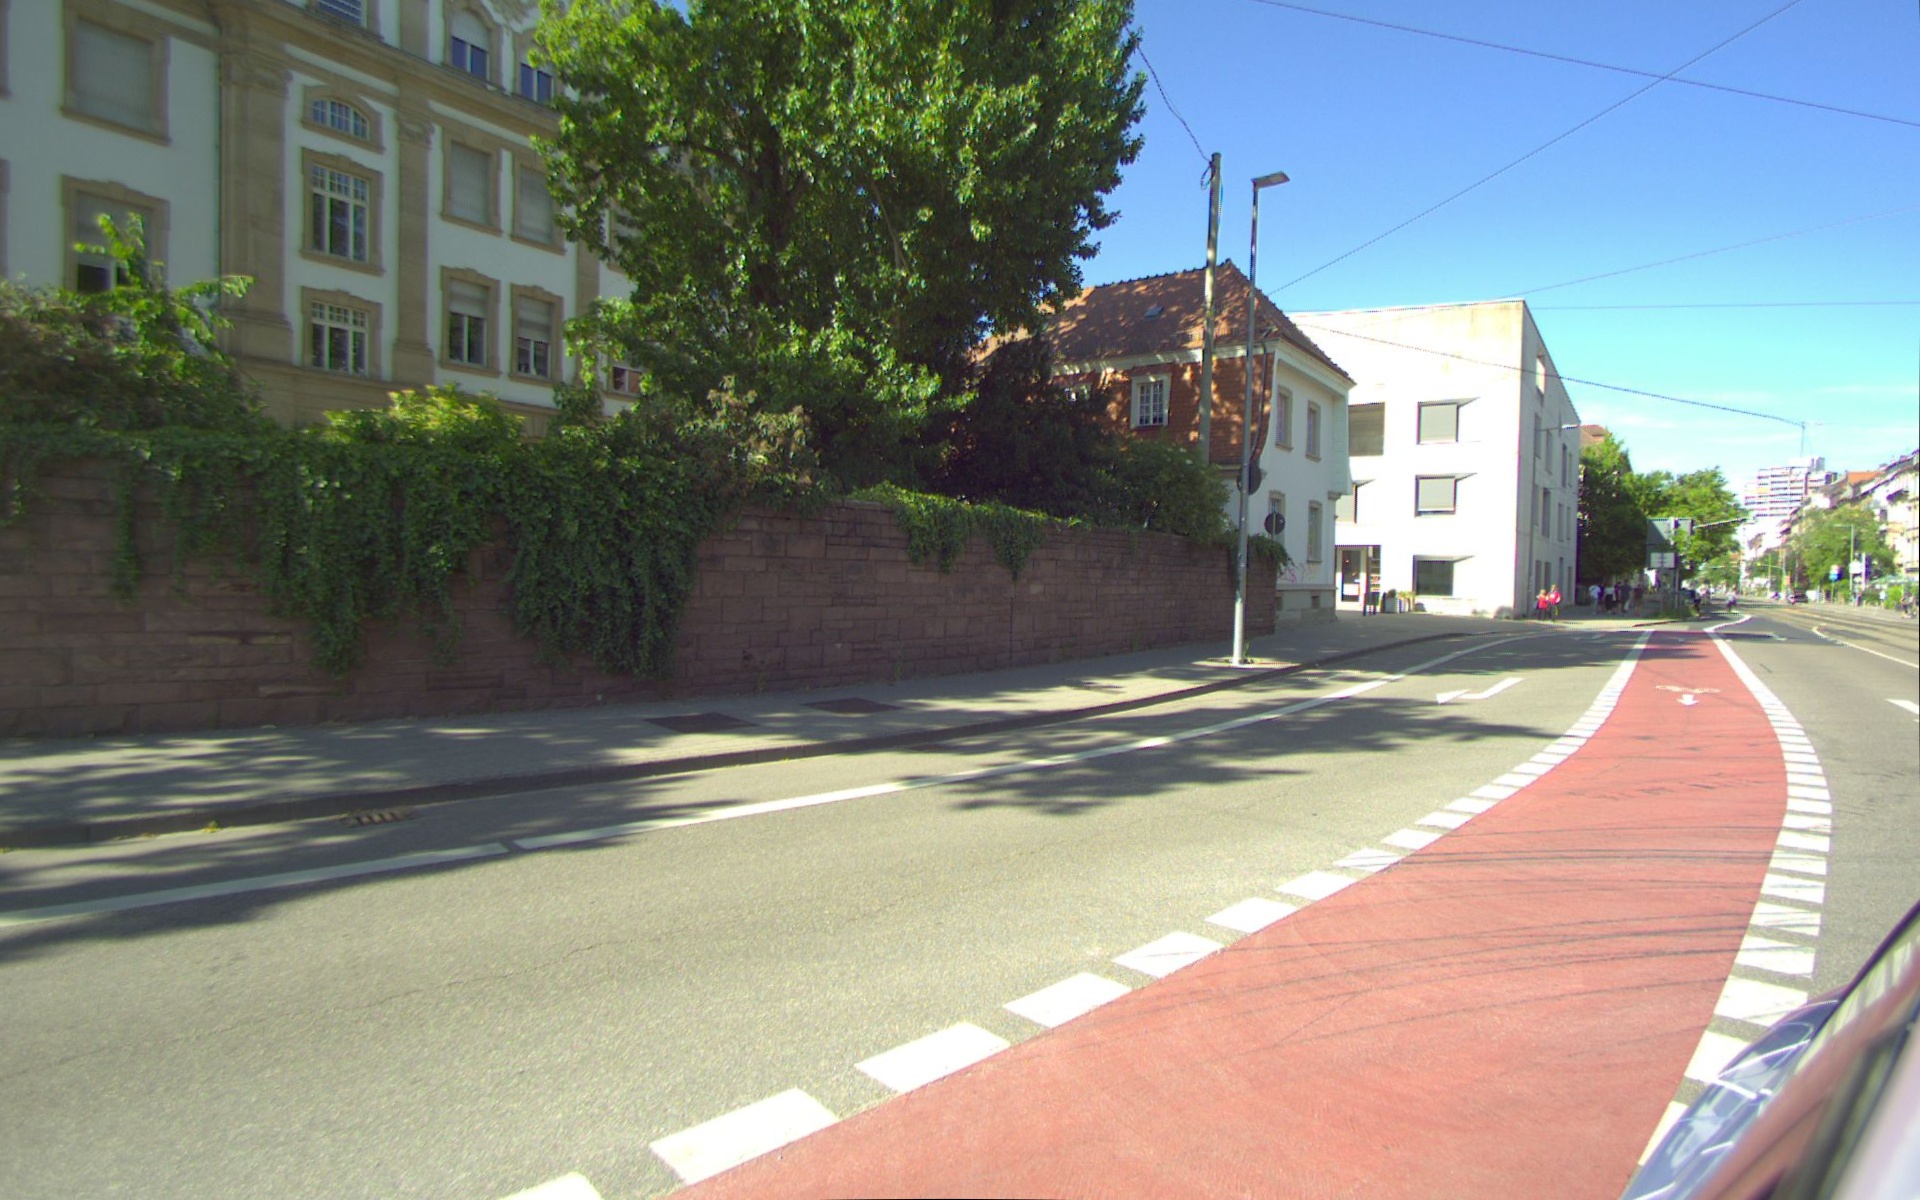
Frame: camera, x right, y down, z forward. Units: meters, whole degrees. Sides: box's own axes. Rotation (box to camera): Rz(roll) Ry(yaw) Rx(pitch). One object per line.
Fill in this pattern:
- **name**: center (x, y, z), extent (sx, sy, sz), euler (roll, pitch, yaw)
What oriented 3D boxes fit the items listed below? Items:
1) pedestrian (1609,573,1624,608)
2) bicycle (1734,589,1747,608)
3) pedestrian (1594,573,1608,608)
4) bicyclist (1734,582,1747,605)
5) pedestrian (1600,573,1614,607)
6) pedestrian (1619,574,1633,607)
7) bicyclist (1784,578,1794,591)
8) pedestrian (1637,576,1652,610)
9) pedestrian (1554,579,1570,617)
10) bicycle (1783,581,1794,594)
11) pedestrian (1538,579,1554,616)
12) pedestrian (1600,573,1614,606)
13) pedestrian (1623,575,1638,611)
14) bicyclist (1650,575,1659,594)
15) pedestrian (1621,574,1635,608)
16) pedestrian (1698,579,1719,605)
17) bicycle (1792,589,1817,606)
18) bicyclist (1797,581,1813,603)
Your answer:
- **pedestrian**: center (34.714, -0.485, 53.494), extent (0.584, 1.828, 0.538), euler (2, 1, 36)
- **bicycle**: center (52.268, -0.111, 67.763), extent (0.663, 1.166, 1.648), euler (0, 2, 40)
- **pedestrian**: center (34.151, -0.520, 53.911), extent (0.584, 1.828, 0.538), euler (2, 1, 36)
- **bicyclist**: center (52.254, -0.430, 67.744), extent (0.663, 1.480, 0.613), euler (0, 1, 41)
- **pedestrian**: center (35.468, -0.561, 55.474), extent (0.584, 1.828, 0.575), euler (2, 1, 36)
- **pedestrian**: center (37.040, -0.530, 56.295), extent (0.584, 1.828, 0.538), euler (2, 1, 36)
- **bicyclist**: center (113.368, -2.123, 138.421), extent (0.998, 1.743, 0.972), euler (0, 1, 37)
- **pedestrian**: center (35.746, -0.390, 52.833), extent (0.584, 1.749, 0.513), euler (2, 1, 36)
- **pedestrian**: center (25.743, -0.090, 43.279), extent (0.531, 1.586, 0.513), euler (2, 1, 36)
- **bicycle**: center (113.378, -1.659, 138.430), extent (0.998, 1.702, 2.946), euler (0, 2, 37)
- **pedestrian**: center (25.380, -0.104, 43.849), extent (0.531, 1.586, 0.513), euler (2, 1, 36)
- **pedestrian**: center (36.300, -0.578, 56.753), extent (0.584, 1.828, 0.538), euler (2, 1, 36)
- **pedestrian**: center (35.211, -0.376, 53.119), extent (0.584, 1.828, 0.513), euler (2, 1, 36)
- **bicyclist**: center (81.859, -1.829, 119.238), extent (0.809, 2.234, 0.971), euler (0, 1, 39)
- **pedestrian**: center (36.339, -0.510, 55.070), extent (0.584, 1.828, 0.575), euler (2, 1, 36)
- **pedestrian**: center (51.629, -0.535, 69.826), extent (0.916, 1.759, 0.678), euler (1, 1, 7)
- **bicycle**: center (88.734, -0.276, 106.348), extent (0.991, 1.702, 2.967), euler (0, 1, 19)
- **bicyclist**: center (88.723, -0.844, 106.301), extent (0.991, 2.296, 1.015), euler (0, 1, 19)
